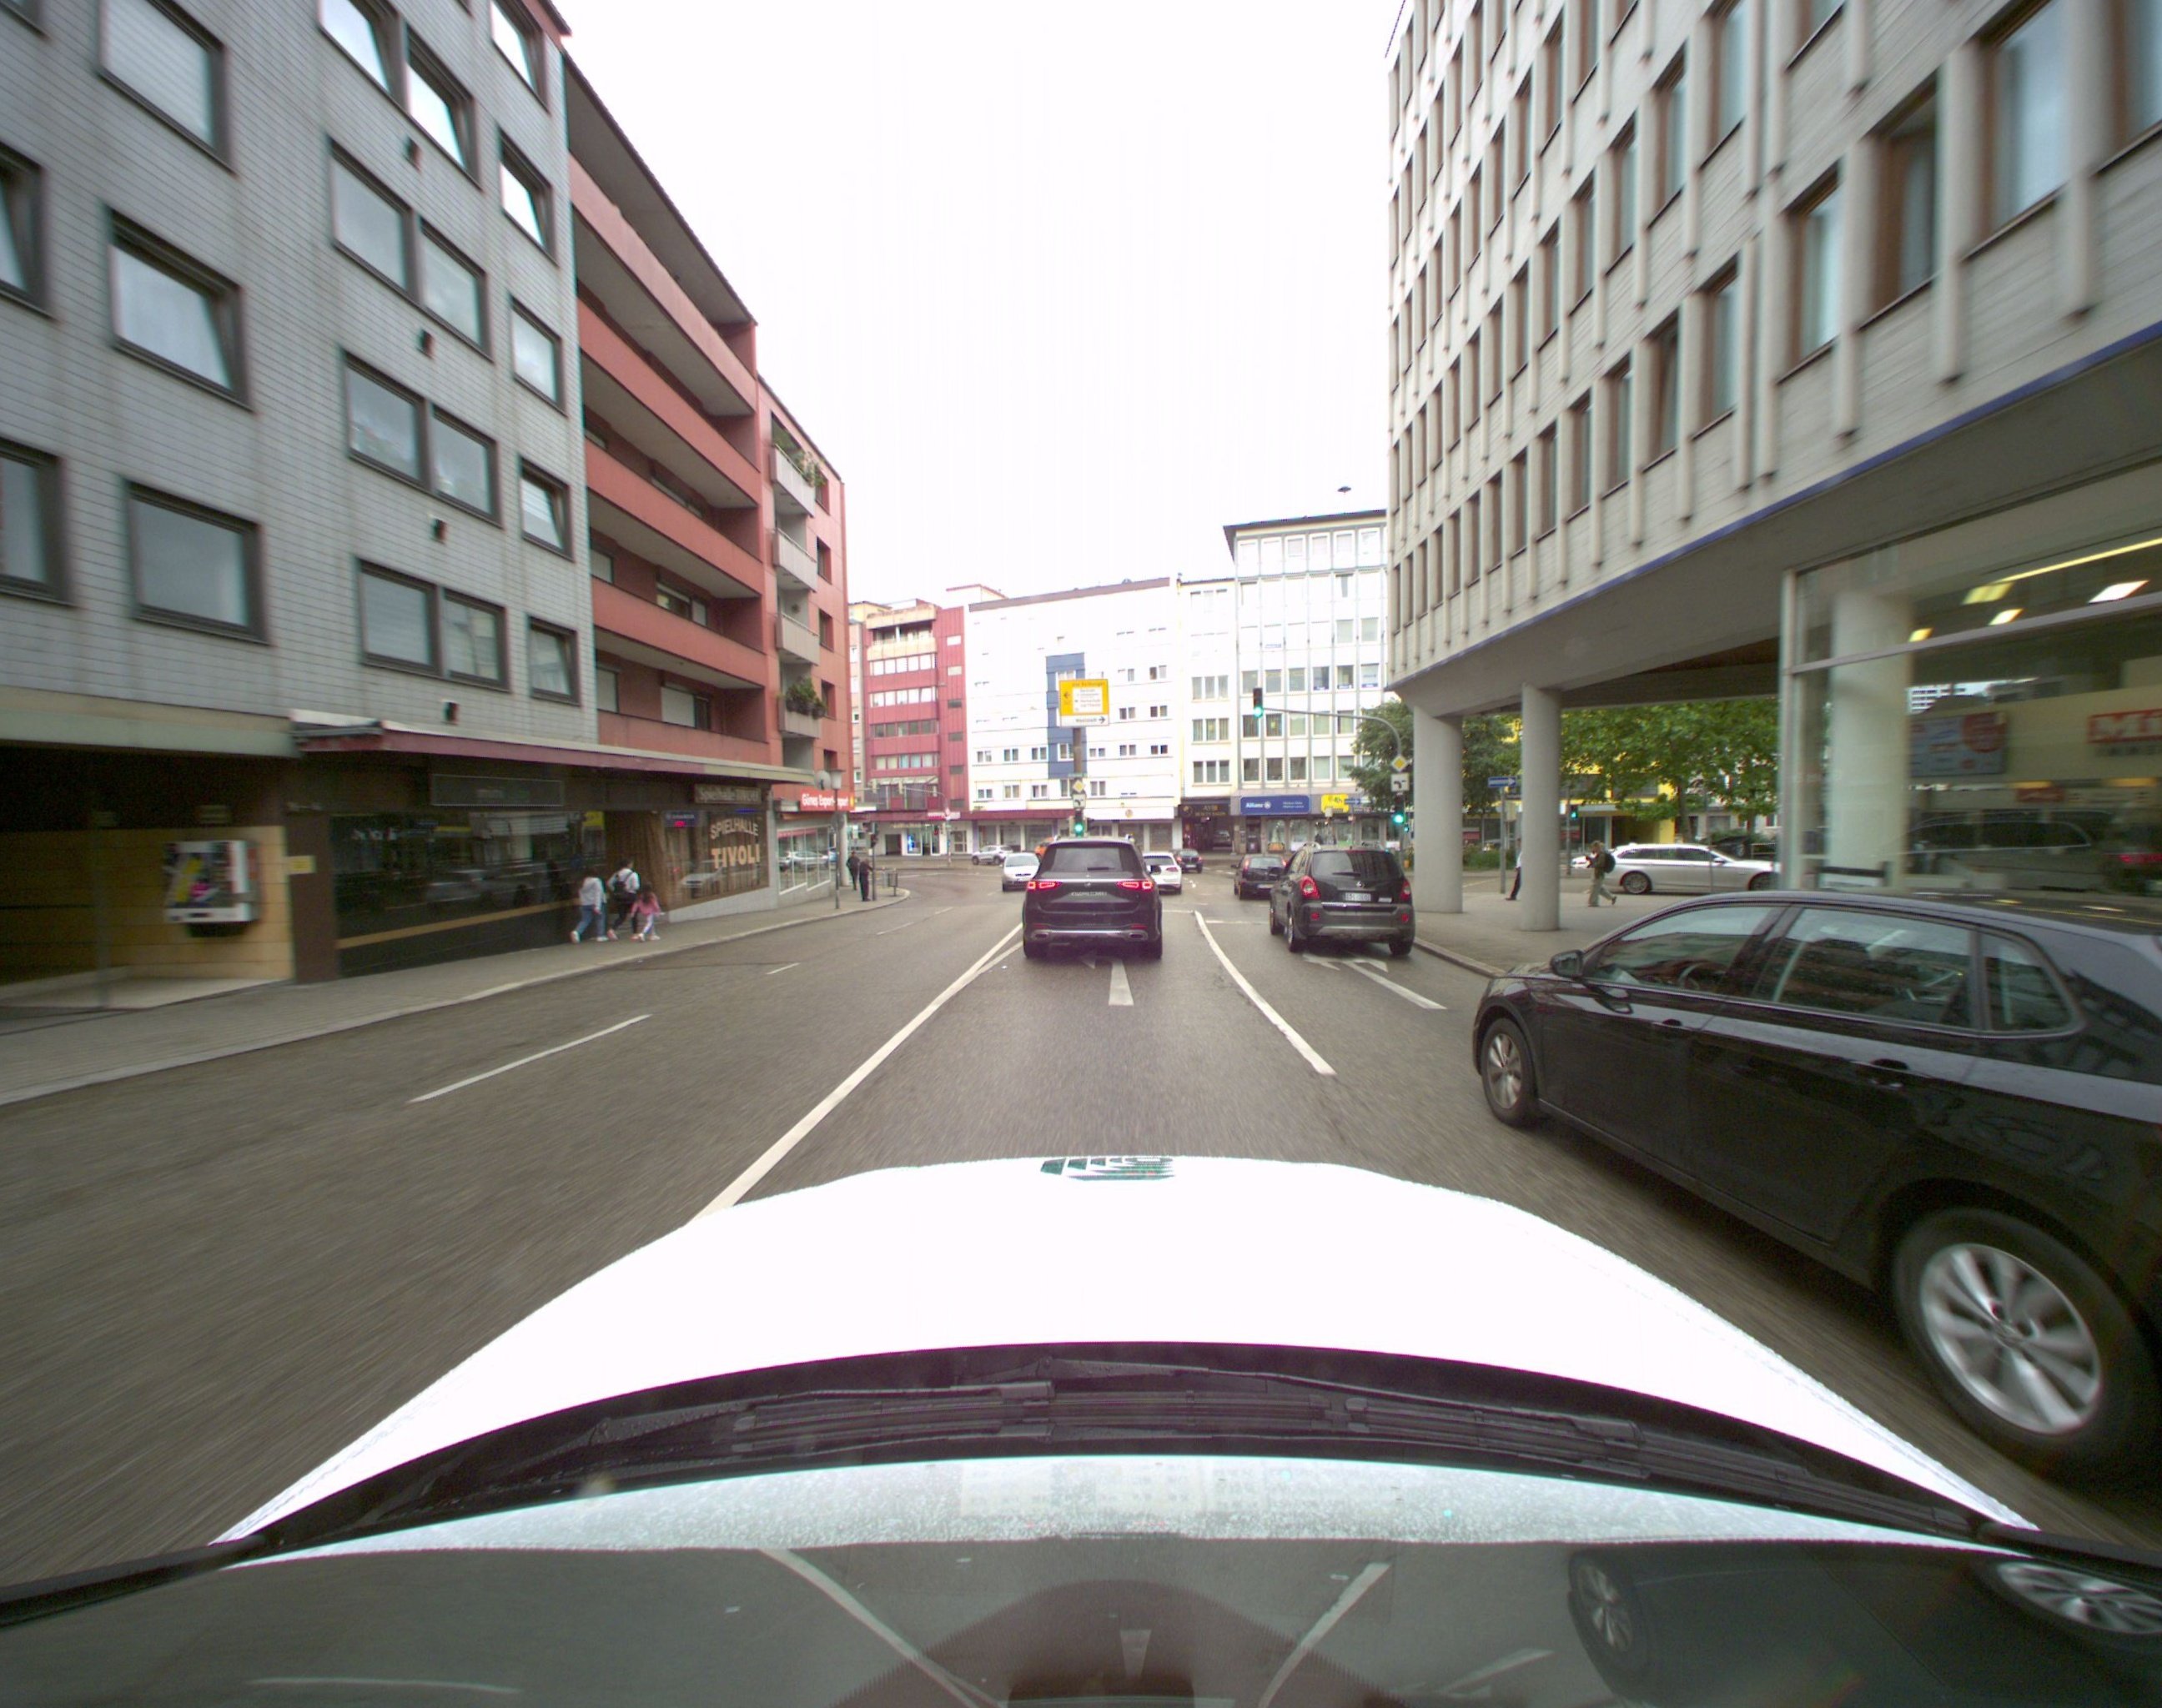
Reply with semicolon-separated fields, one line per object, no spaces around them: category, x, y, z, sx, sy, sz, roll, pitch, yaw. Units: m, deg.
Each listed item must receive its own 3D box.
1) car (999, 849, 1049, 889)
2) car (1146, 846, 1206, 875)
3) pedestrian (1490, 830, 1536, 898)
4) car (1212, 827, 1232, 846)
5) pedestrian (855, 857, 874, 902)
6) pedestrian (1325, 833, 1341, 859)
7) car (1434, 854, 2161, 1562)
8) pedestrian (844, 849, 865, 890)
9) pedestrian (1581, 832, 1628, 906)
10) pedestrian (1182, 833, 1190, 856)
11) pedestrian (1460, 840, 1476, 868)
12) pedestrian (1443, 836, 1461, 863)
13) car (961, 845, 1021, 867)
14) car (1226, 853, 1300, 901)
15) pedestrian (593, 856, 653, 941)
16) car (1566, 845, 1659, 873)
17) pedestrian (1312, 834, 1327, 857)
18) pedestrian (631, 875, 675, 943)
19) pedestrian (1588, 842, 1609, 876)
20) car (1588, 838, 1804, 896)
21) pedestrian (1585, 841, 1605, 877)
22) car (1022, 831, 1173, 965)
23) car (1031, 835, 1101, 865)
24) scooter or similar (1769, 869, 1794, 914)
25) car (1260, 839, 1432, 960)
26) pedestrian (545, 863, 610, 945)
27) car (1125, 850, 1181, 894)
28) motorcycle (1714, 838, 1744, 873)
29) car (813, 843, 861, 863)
car;-2.496;0.663;36.633;1.729;1.593;4.176;-3;0;1
car;5.720;0.414;49.614;1.830;1.658;4.464;1;-1;-21
pedestrian;11.979;0.285;22.589;0.720;1.818;0.829;-3;-1;-4
car;13.203;-1.594;76.129;1.785;1.670;4.012;-1;0;11
pedestrian;-8.378;0.981;31.490;0.552;1.697;0.623;-1;0;-2
pedestrian;18.547;-0.590;59.932;1.023;1.798;0.833;-1;6;11
car;3.186;0.775;3.464;1.682;1.477;4.001;2;0;1
pedestrian;-10.529;0.717;37.822;0.764;1.848;0.837;-1;0;-25
pedestrian;12.452;0.349;19.401;0.715;1.689;0.834;-3;-1;23
pedestrian;8.316;-0.751;64.717;0.560;1.688;0.758;-1;6;8
pedestrian;25.174;-0.010;52.982;0.815;1.827;0.897;2;2;29
pedestrian;26.220;-0.326;57.560;0.890;1.827;0.676;3;-2;-15
car;-6.811;0.145;61.494;4.604;1.515;1.942;0;-2;42
car;5.882;0.695;26.773;1.759;1.397;4.004;2;0;4
pedestrian;-9.440;0.904;16.803;0.826;1.689;0.722;1;0;-7
car;30.891;0.281;47.456;4.155;1.412;1.838;0;5;16
pedestrian;17.894;-0.637;61.140;1.023;1.688;0.833;-1;6;11
pedestrian;-8.727;1.104;16.617;0.533;1.323;0.722;1;0;-7
pedestrian;26.525;0.277;41.731;0.707;1.677;0.682;2;-3;15
car;17.587;0.345;23.460;4.791;1.494;1.868;-1;0;43
pedestrian;26.778;0.277;42.453;0.707;1.827;0.682;2;-3;16
car;0.254;0.579;13.321;2.032;1.799;4.663;0;0;1
car;-1.200;-0.307;62.383;2.262;2.228;5.362;1;0;-44
scooter or similar;14.002;0.742;16.278;0.304;0.824;1.133;-1;0;44
car;4.297;0.642;13.956;1.888;1.695;4.513;1;0;6
pedestrian;-9.898;0.961;16.028;0.826;1.561;0.722;1;0;-7
car;2.718;0.605;29.927;1.863;1.494;4.409;0;0;7
motorcycle;23.809;0.028;29.924;1.953;1.116;0.621;-7;4;-44
car;-23.818;-0.070;79.553;4.124;1.838;2.011;2;0;25
